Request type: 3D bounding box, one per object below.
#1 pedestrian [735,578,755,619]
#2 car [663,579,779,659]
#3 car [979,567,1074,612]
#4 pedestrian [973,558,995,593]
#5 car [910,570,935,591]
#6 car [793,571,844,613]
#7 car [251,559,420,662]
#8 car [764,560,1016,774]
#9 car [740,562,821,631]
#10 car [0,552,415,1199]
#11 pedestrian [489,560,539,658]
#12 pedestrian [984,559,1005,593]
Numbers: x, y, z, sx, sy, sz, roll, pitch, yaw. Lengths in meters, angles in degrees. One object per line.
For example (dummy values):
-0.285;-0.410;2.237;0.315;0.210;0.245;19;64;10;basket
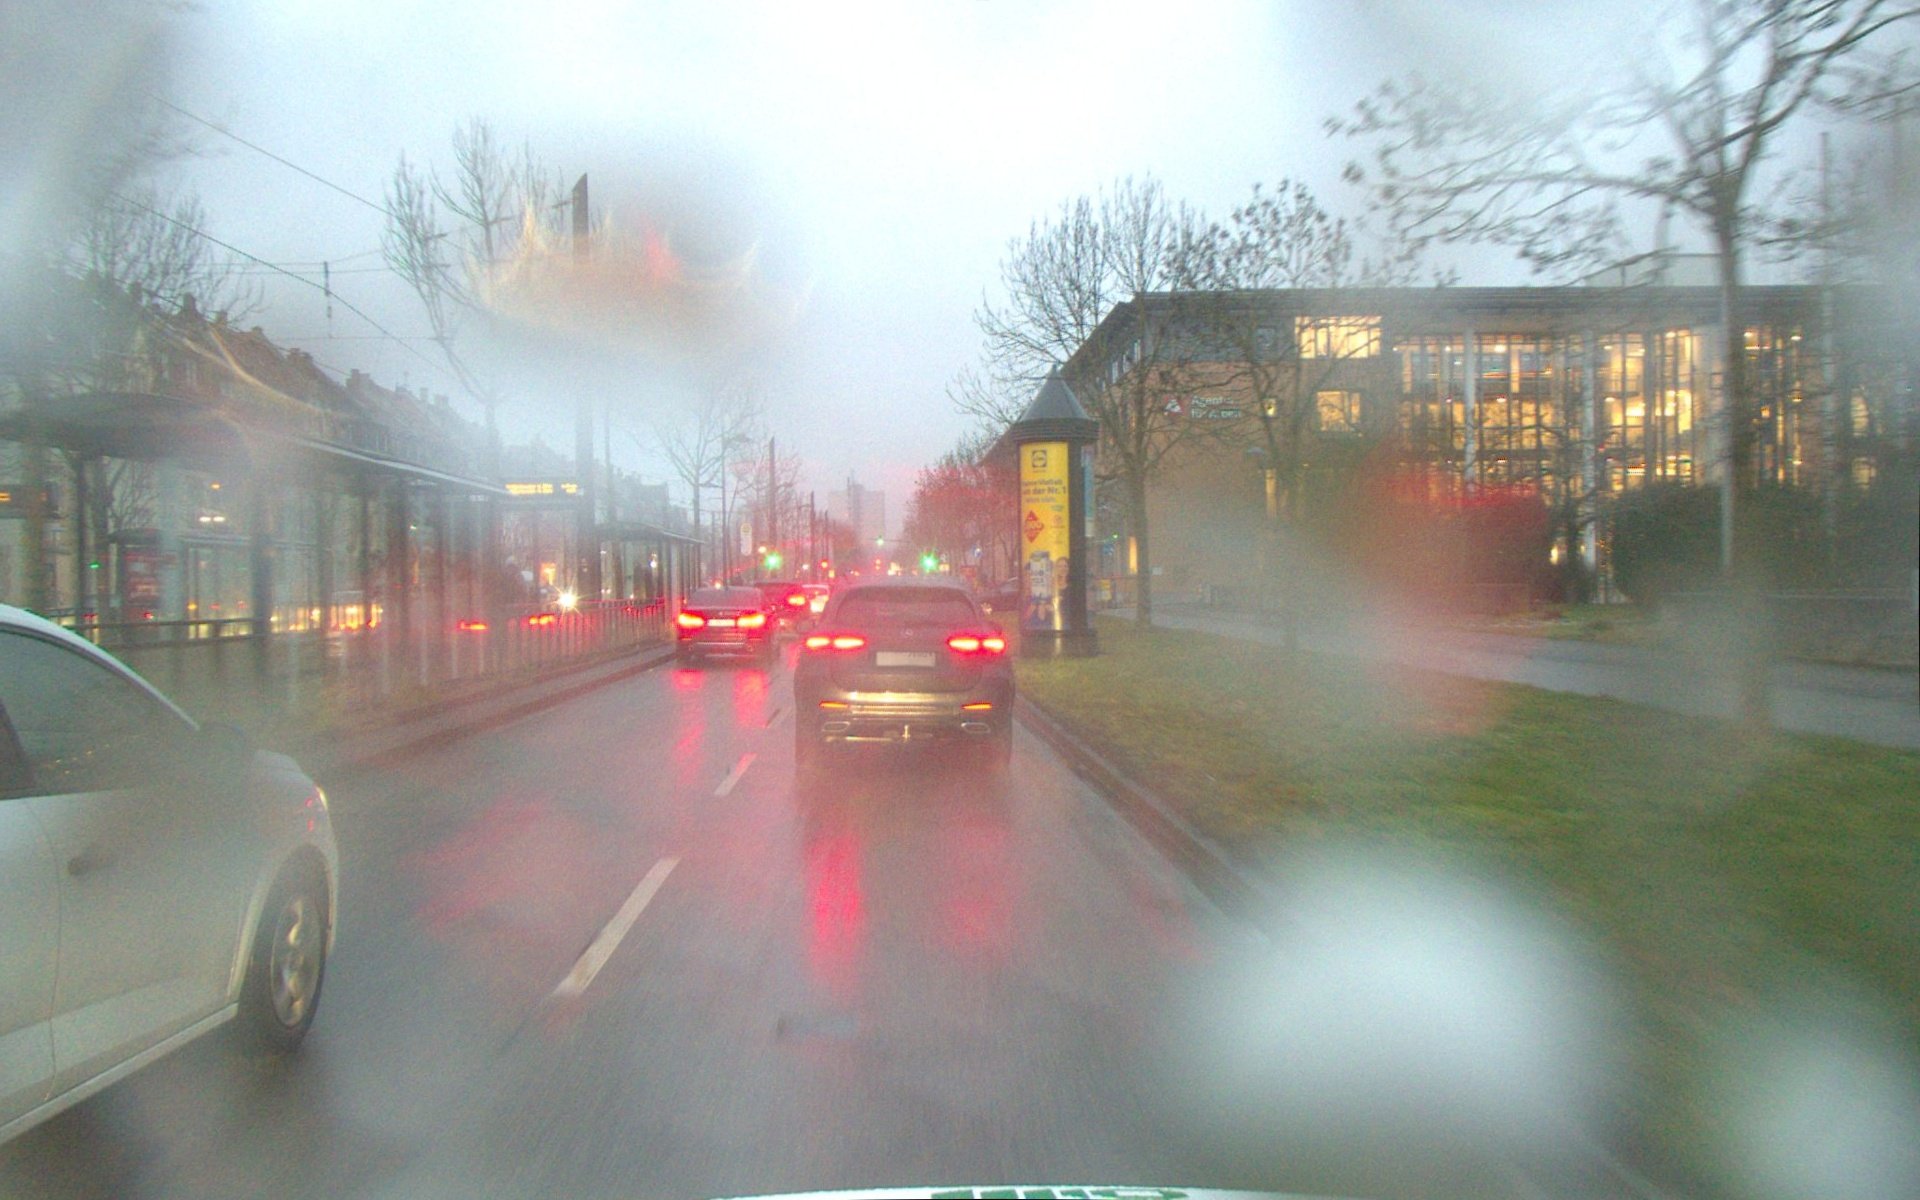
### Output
-8.490;-0.056;65.395;0.685;1.579;0.668;-2;1;-3;pedestrian
-4.645;0.320;32.704;1.954;1.422;3.997;-2;1;-4;car
2.738;-0.455;68.630;3.782;1.587;1.765;-4;1;-2;car
1.149;-1.163;78.190;0.887;1.624;0.500;-1;1;39;pedestrian
-3.127;-1.637;138.025;1.954;1.626;3.998;-2;1;-3;car
-5.826;-0.372;68.663;1.954;1.646;3.998;-2;1;-3;car
-12.286;0.162;32.816;1.954;1.854;3.998;-2;1;-3;car
-0.640;0.493;15.089;1.951;1.644;3.998;-1;1;-3;car
-4.932;-0.129;45.869;1.954;1.796;3.998;-1;1;-3;car
-2.797;0.666;3.910;1.593;1.513;4.001;-1;1;1;car
-7.532;0.153;27.951;0.696;1.634;0.746;0;0;-5;pedestrian
1.683;-1.155;80.182;0.887;1.624;0.500;-1;1;39;pedestrian
